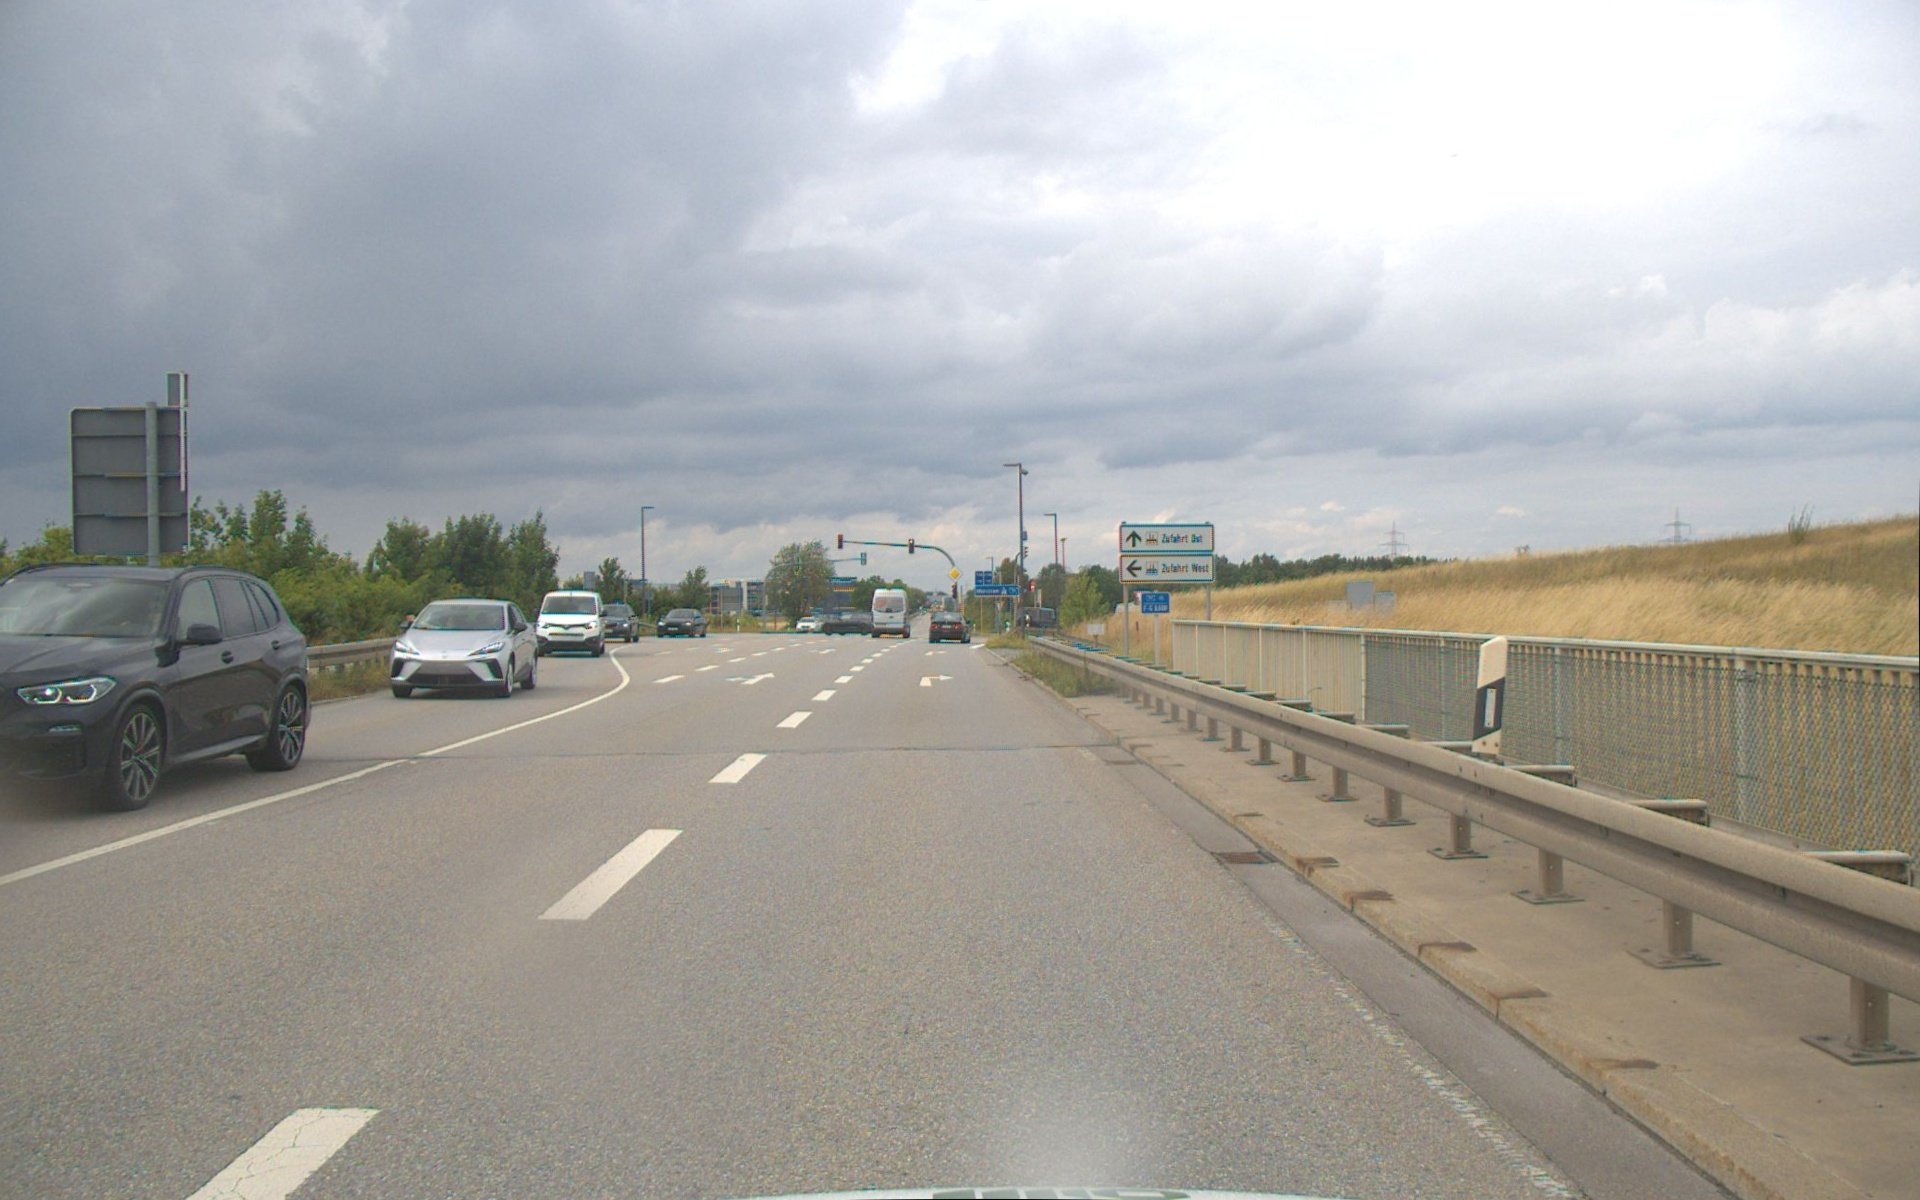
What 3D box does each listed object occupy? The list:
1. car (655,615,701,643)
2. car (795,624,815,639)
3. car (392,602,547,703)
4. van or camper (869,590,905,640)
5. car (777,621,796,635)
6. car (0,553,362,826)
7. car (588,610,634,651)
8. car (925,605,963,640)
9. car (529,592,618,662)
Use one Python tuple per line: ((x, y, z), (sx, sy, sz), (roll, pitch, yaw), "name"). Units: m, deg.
((-14.441, 1.514, 84.910), (1.772, 1.393, 4.782), (0, -1, -3), "car")
((-13.974, 2.841, 149.170), (1.450, 1.305, 3.533), (0, -1, 0), "car")
((-7.919, 0.811, 27.037), (1.678, 1.513, 4.273), (0, -1, -6), "car")
((-3.971, 0.812, 90.557), (1.838, 2.626, 3.999), (1, -1, -1), "van or camper")
((-16.515, 2.643, 157.490), (1.450, 1.305, 3.533), (0, -1, 0), "car")
((-6.596, 0.606, 13.064), (1.952, 1.762, 4.762), (0, -1, 0), "car")
((-14.128, 1.239, 67.040), (1.553, 1.585, 4.138), (1, -1, -8), "car")
((-0.690, 0.994, 73.933), (1.486, 1.511, 3.616), (0, -1, 3), "car")
((-11.047, 0.776, 47.558), (1.916, 1.907, 4.813), (0, -1, -6), "car")
